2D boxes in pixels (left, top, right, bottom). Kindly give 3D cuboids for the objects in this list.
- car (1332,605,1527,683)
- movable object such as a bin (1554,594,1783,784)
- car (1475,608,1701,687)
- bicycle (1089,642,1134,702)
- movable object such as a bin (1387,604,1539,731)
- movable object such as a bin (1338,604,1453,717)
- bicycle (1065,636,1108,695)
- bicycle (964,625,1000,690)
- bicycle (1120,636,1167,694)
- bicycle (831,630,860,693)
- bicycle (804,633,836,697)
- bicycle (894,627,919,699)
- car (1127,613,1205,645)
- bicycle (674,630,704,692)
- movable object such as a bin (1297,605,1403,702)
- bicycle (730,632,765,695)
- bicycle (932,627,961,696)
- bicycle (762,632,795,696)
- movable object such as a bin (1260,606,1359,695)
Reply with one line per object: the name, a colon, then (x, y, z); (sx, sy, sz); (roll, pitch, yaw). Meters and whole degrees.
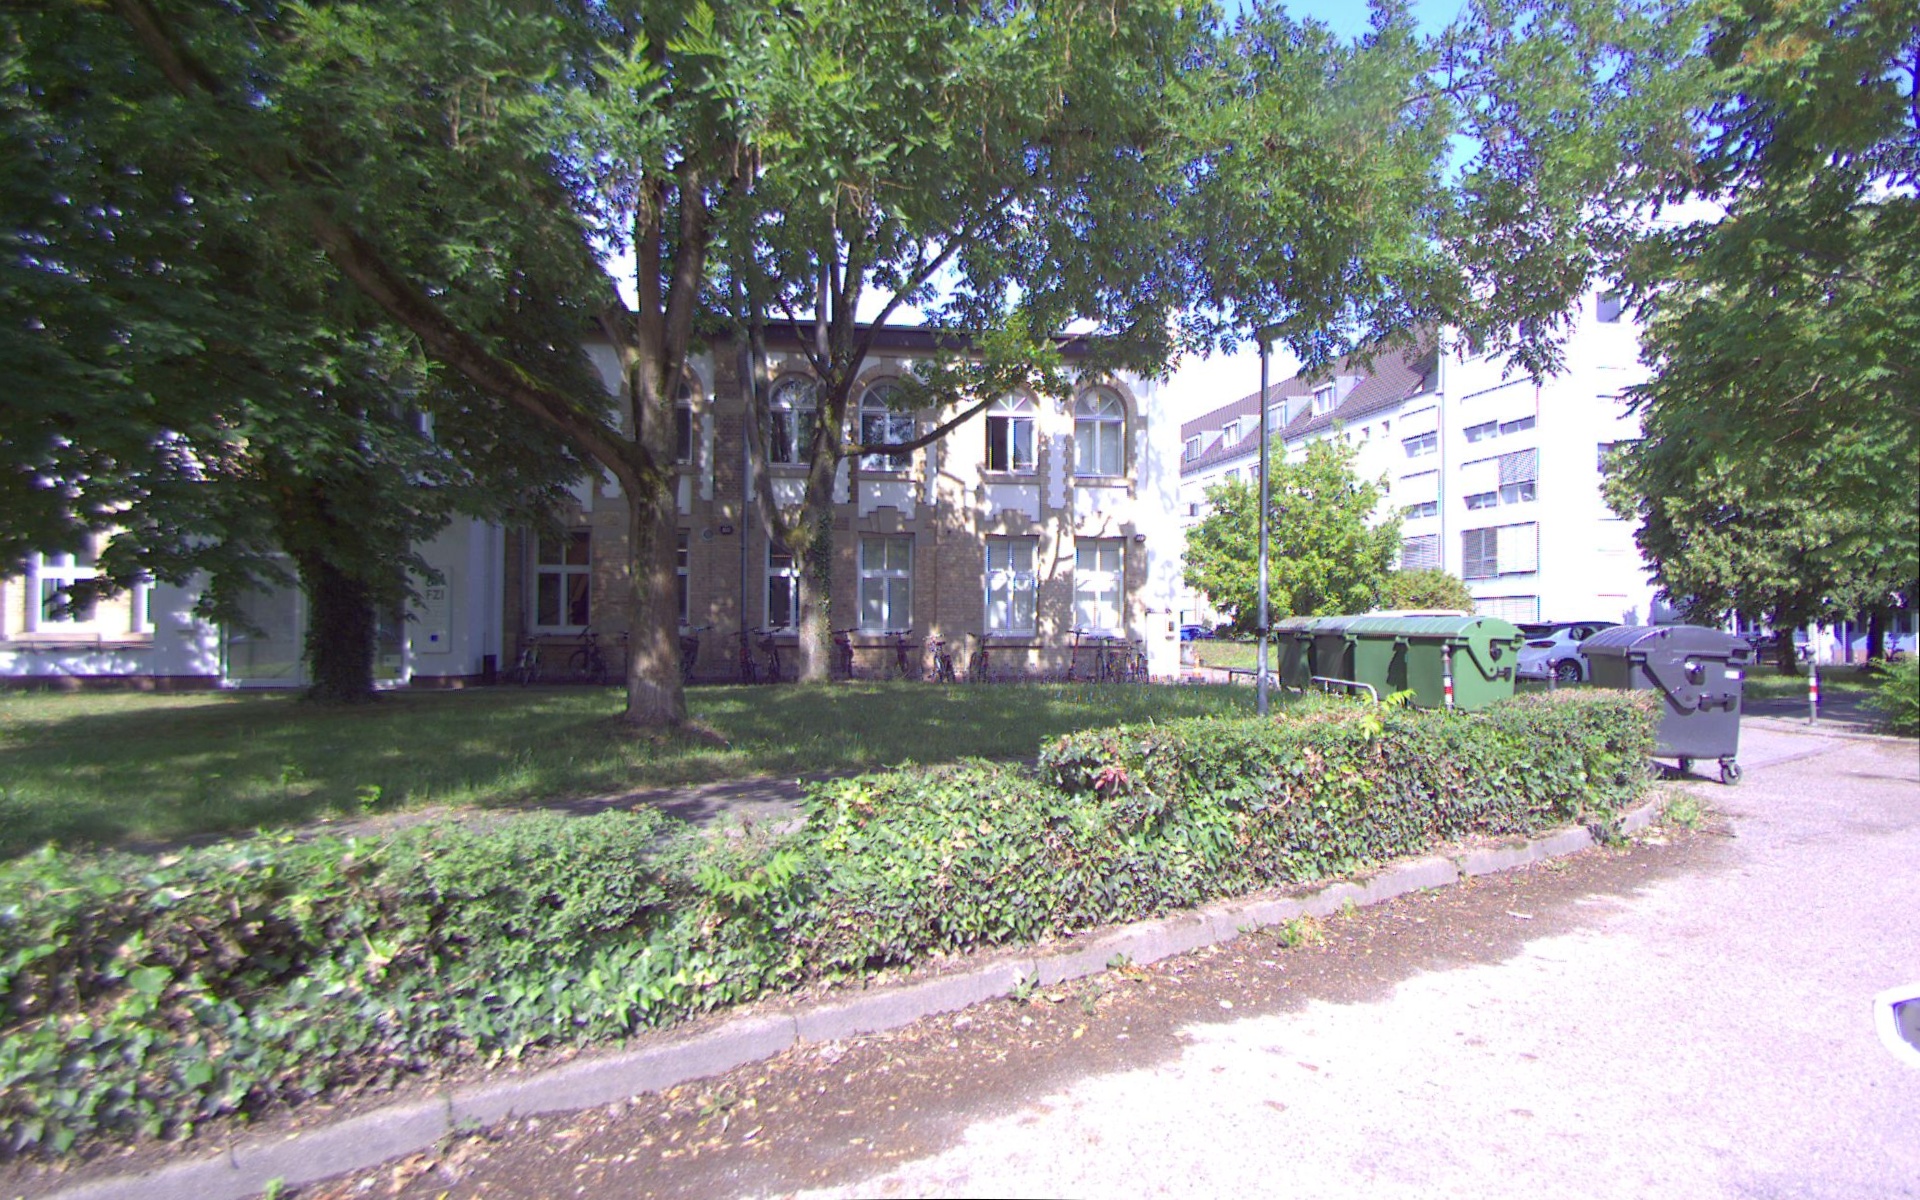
car: (13.912, 1.285, 29.923); (4.863, 1.990, 1.998); (3, 0, -7)
movable object such as a bin: (6.732, 0.796, 9.681); (1.225, 1.502, 1.296); (6, 5, 12)
car: (13.390, 0.987, 21.539); (3.845, 1.439, 1.756); (2, 2, -9)
bicycle: (3.191, 1.505, 21.338); (0.314, 1.051, 1.856); (4, 2, -9)
movable object such as a bin: (6.676, 0.870, 13.417); (1.085, 1.471, 1.338); (4, 2, -16)
movable object such as a bin: (6.366, 0.864, 14.764); (0.865, 1.471, 1.230); (4, 2, -14)
bicycle: (2.655, 1.365, 21.268); (0.314, 1.051, 1.856); (4, 2, -9)
bicycle: (0.462, 1.198, 21.417); (0.351, 1.158, 1.856); (4, 2, -9)
bicycle: (3.909, 1.368, 21.552); (0.314, 1.051, 1.856); (4, 2, -9)
bicycle: (-2.357, 1.250, 20.822); (0.412, 1.070, 2.065); (5, 2, -4)
bicycle: (-2.880, 1.312, 20.751); (0.412, 1.070, 2.065); (5, 2, -4)
bicycle: (-1.110, 1.263, 20.743); (0.412, 1.138, 2.065); (5, 6, -4)
car: (11.863, 1.663, 57.918); (3.931, 1.769, 1.944); (0, -1, -13)
bicycle: (-5.506, 1.215, 20.426); (0.314, 1.051, 1.856); (4, 2, -9)
movable object such as a bin: (6.211, 0.841, 16.070); (0.931, 1.367, 1.230); (4, 2, -14)
bicycle: (-4.324, 1.262, 20.518); (0.412, 1.070, 2.065); (1, 2, -4)
bicycle: (-0.296, 1.260, 21.149); (0.412, 1.231, 2.065); (5, 2, -4)
bicycle: (-3.664, 1.274, 20.403); (0.412, 1.070, 2.065); (1, 2, -4)
movable object such as a bin: (6.093, 0.866, 17.594); (0.931, 1.367, 1.377); (4, 2, -14)
